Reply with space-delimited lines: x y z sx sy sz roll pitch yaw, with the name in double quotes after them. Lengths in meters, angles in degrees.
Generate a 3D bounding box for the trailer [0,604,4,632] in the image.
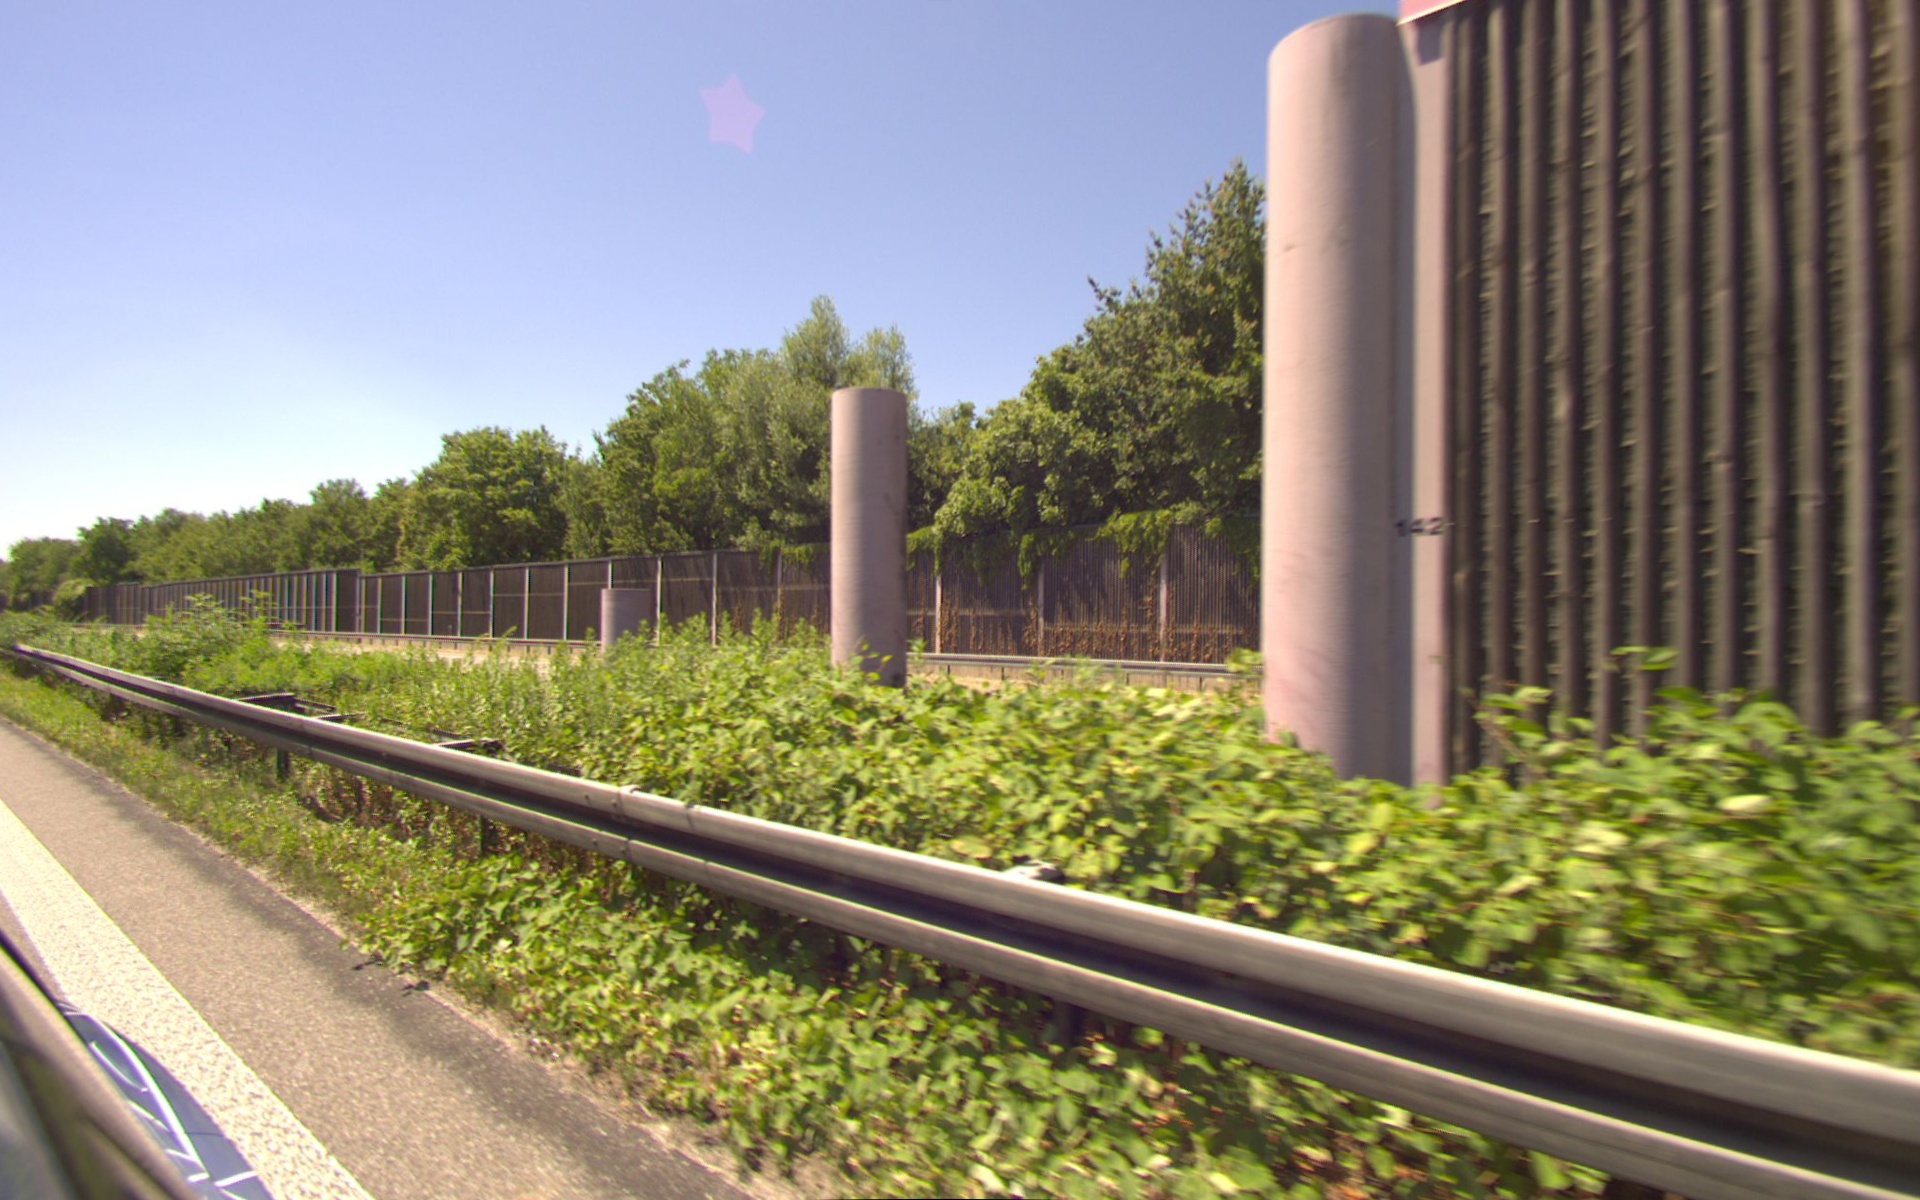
-145.390 2.649 150.576 13.869 4.039 3.084 -1 -4 41 "trailer"
